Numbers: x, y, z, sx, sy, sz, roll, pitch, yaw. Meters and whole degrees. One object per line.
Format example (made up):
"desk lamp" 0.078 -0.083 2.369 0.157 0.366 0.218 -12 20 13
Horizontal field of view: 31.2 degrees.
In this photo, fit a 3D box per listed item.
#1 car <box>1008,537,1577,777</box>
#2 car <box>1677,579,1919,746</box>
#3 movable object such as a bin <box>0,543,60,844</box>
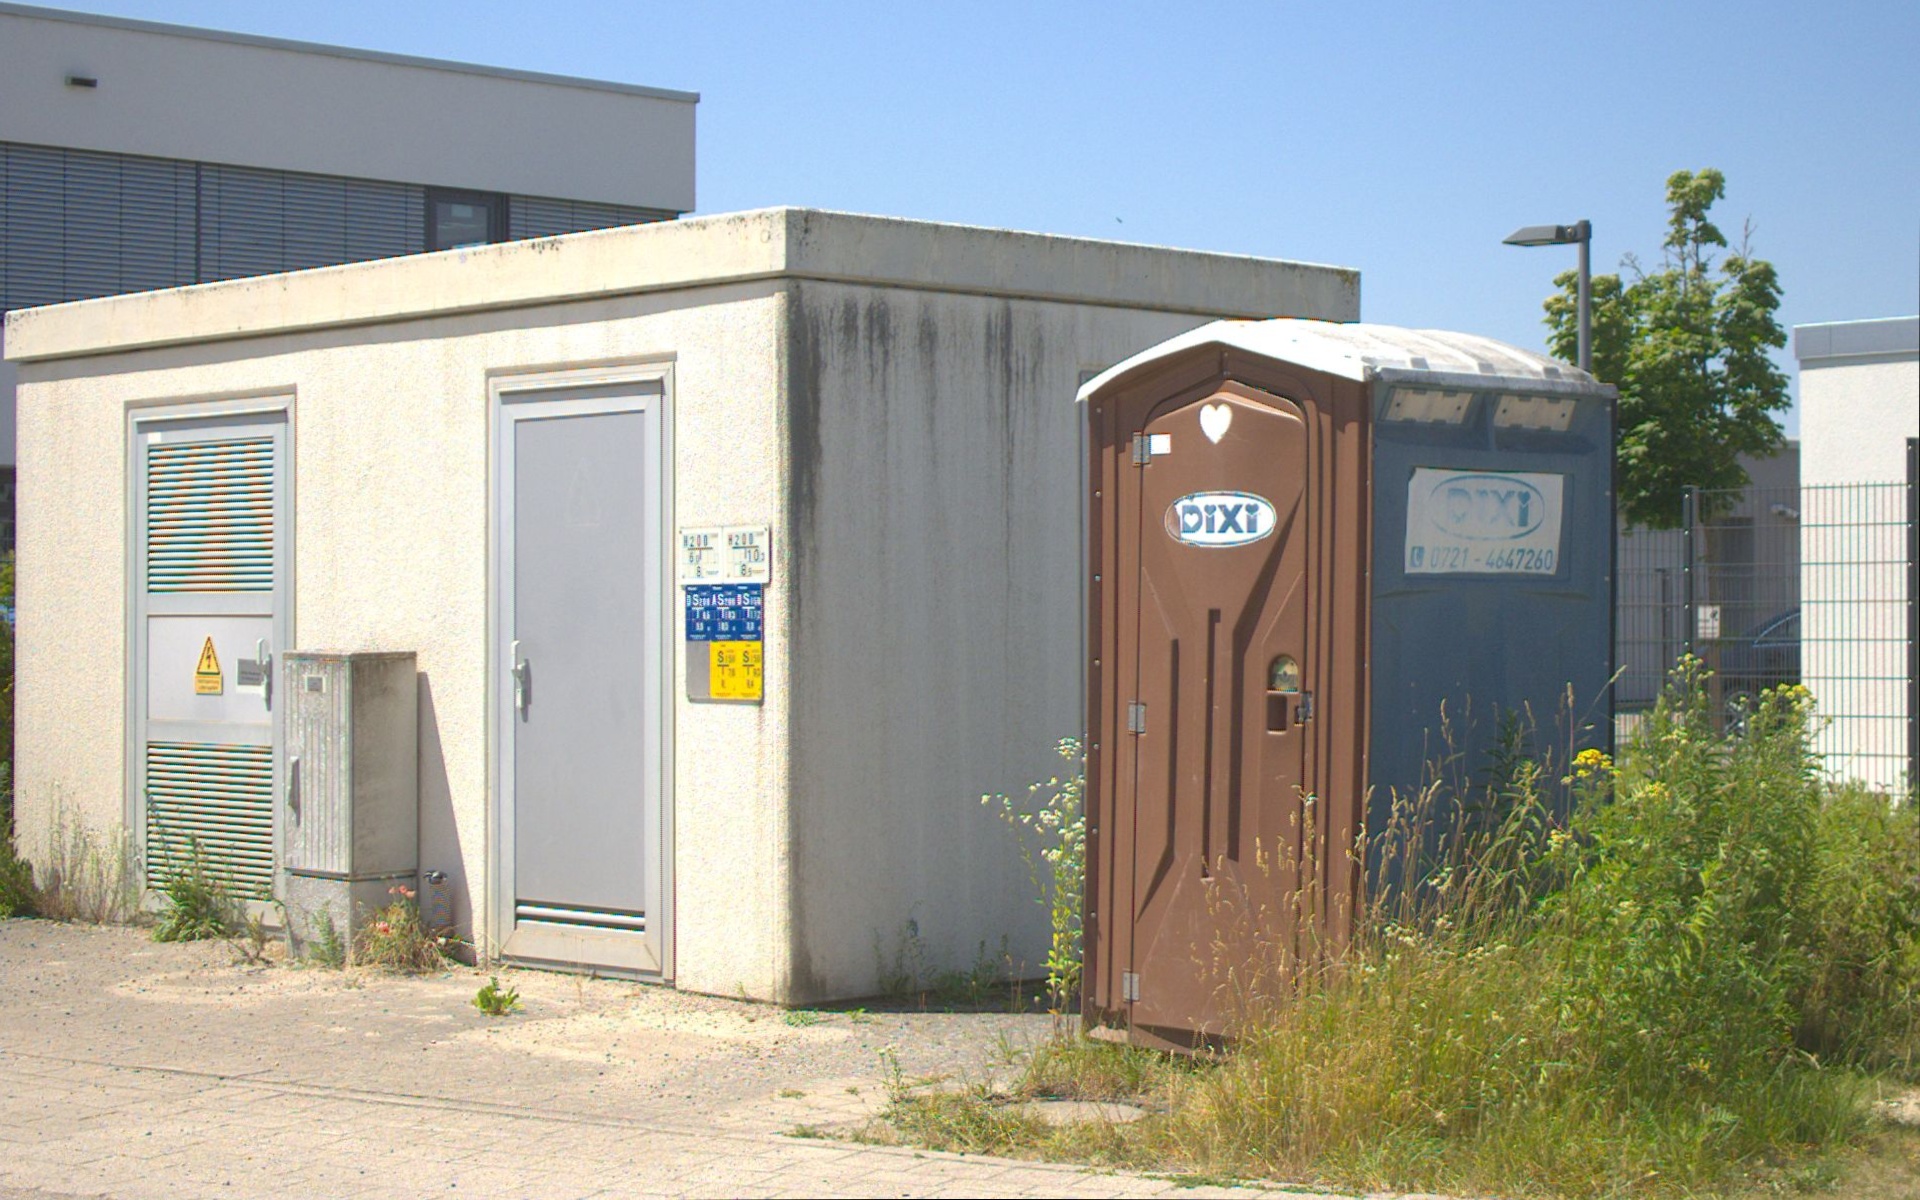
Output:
"car" 2.447 0.464 26.008 1.856 1.673 3.997 0 -2 -44
"car" 8.941 0.580 32.115 1.856 1.500 3.997 0 -2 -44
"movable object such as a bin" -5.499 0.474 17.489 1.384 1.518 1.169 -1 0 -44
